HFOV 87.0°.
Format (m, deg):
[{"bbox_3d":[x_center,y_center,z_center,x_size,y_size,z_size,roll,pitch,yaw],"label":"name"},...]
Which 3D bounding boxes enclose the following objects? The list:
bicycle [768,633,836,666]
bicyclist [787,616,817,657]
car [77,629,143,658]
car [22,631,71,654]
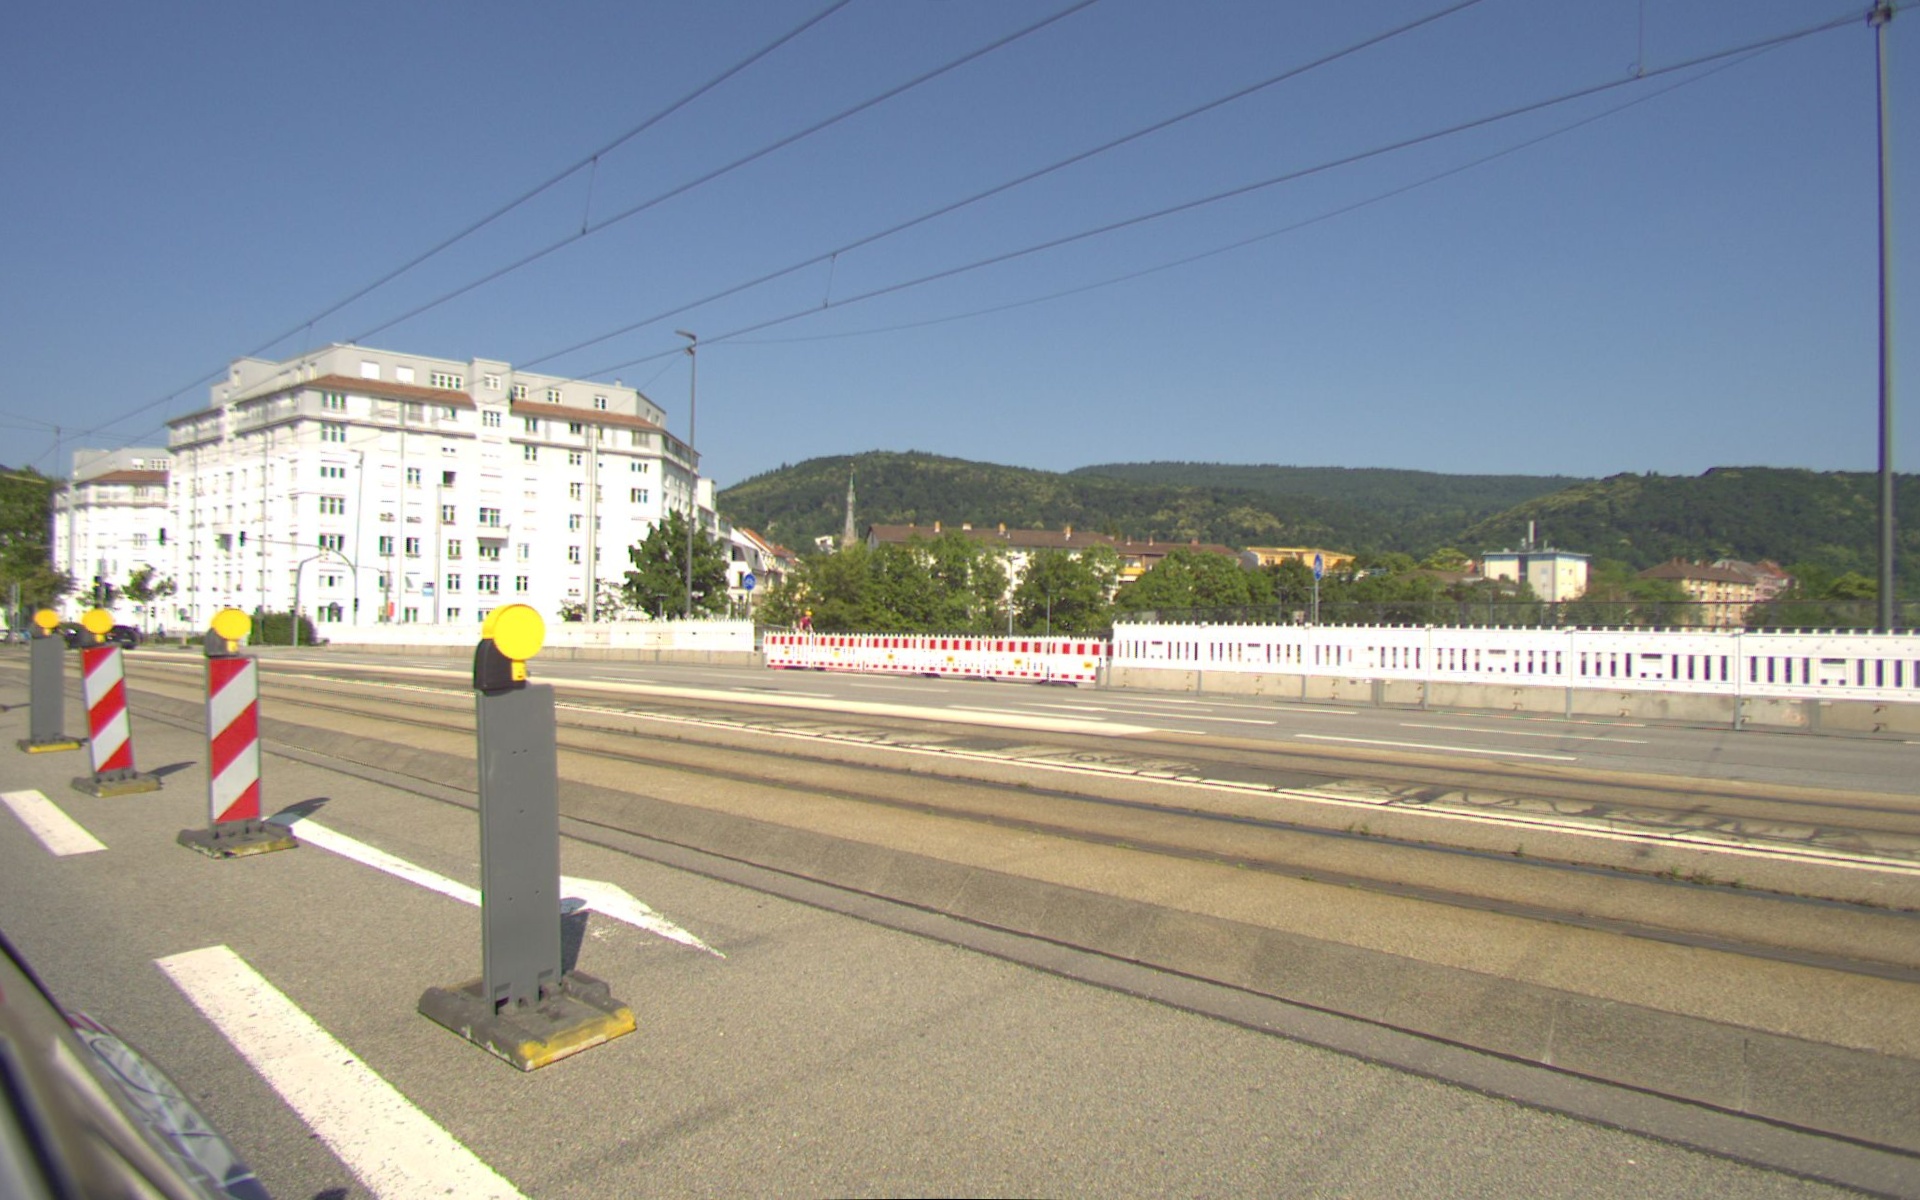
[{"bbox_3d":[-6.215,1.918,39.631,3.070,1.204,0.847,0,0,41],"label":"bicycle"},{"bbox_3d":[-6.169,1.418,39.588,0.817,1.530,0.847,0,0,41],"label":"bicyclist"},{"bbox_3d":[-46.041,2.339,54.795,3.991,1.497,1.781,-1,-1,36],"label":"car"},{"bbox_3d":[-65.251,3.027,72.283,3.997,1.497,2.013,0,-2,40],"label":"car"}]
